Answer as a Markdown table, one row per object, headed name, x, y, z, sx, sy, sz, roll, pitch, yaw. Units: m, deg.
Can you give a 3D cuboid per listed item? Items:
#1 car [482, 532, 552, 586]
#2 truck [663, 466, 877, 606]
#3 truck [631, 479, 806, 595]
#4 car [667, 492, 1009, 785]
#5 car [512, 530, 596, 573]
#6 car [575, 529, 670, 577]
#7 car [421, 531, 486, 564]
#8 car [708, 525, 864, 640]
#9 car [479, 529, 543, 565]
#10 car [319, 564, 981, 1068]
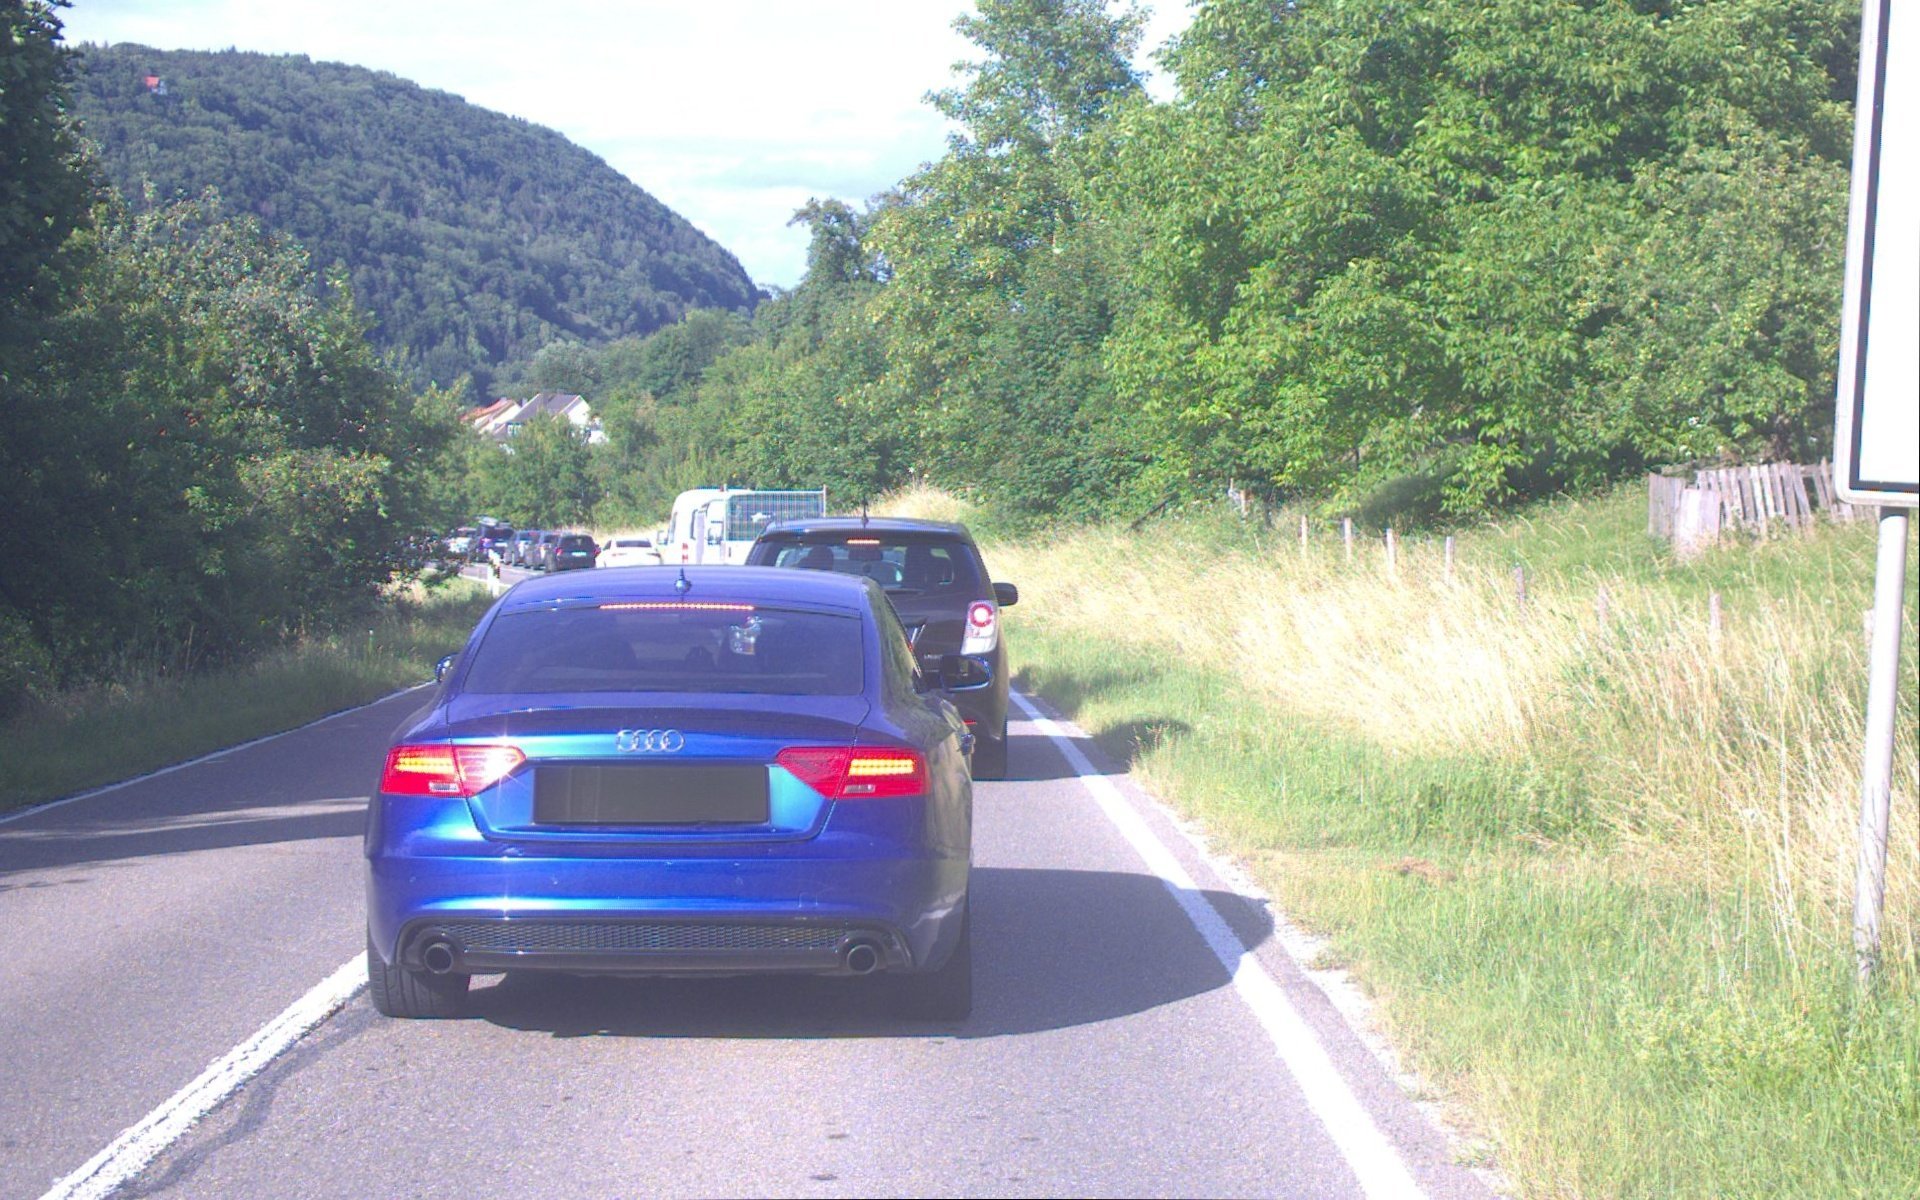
| name | x | y | z | sx | sy | sz | roll | pitch | yaw |
| --- | --- | --- | --- | --- | --- | --- | --- | --- | --- |
| car | -16.996 | -1.588 | 131.818 | 1.993 | 2.007 | 4.001 | 1 | 1 | -17 |
| truck | -4.097 | -1.338 | 71.451 | 2.863 | 2.656 | 10.396 | 1 | 1 | -12 |
| truck | -6.107 | -1.562 | 85.030 | 2.863 | 2.656 | 10.648 | 1 | 1 | -12 |
| car | -0.759 | 0.205 | 22.262 | 1.993 | 1.696 | 4.000 | 1 | 1 | -1 |
| car | -14.415 | -1.716 | 121.794 | 1.993 | 1.477 | 4.001 | 1 | 1 | -21 |
| car | -10.786 | -1.512 | 109.670 | 1.993 | 1.477 | 4.001 | 1 | 1 | -21 |
| car | -23.266 | -2.426 | 157.862 | 1.993 | 1.477 | 4.001 | 1 | 1 | -23 |
| car | -2.350 | -0.252 | 47.358 | 1.993 | 1.477 | 4.000 | 1 | 1 | -1 |
| car | -19.055 | -2.243 | 145.838 | 1.993 | 1.477 | 4.001 | 1 | 1 | -17 |
| car | -0.854 | 0.572 | 11.419 | 1.793 | 1.355 | 4.000 | 1 | 1 | 0 |
